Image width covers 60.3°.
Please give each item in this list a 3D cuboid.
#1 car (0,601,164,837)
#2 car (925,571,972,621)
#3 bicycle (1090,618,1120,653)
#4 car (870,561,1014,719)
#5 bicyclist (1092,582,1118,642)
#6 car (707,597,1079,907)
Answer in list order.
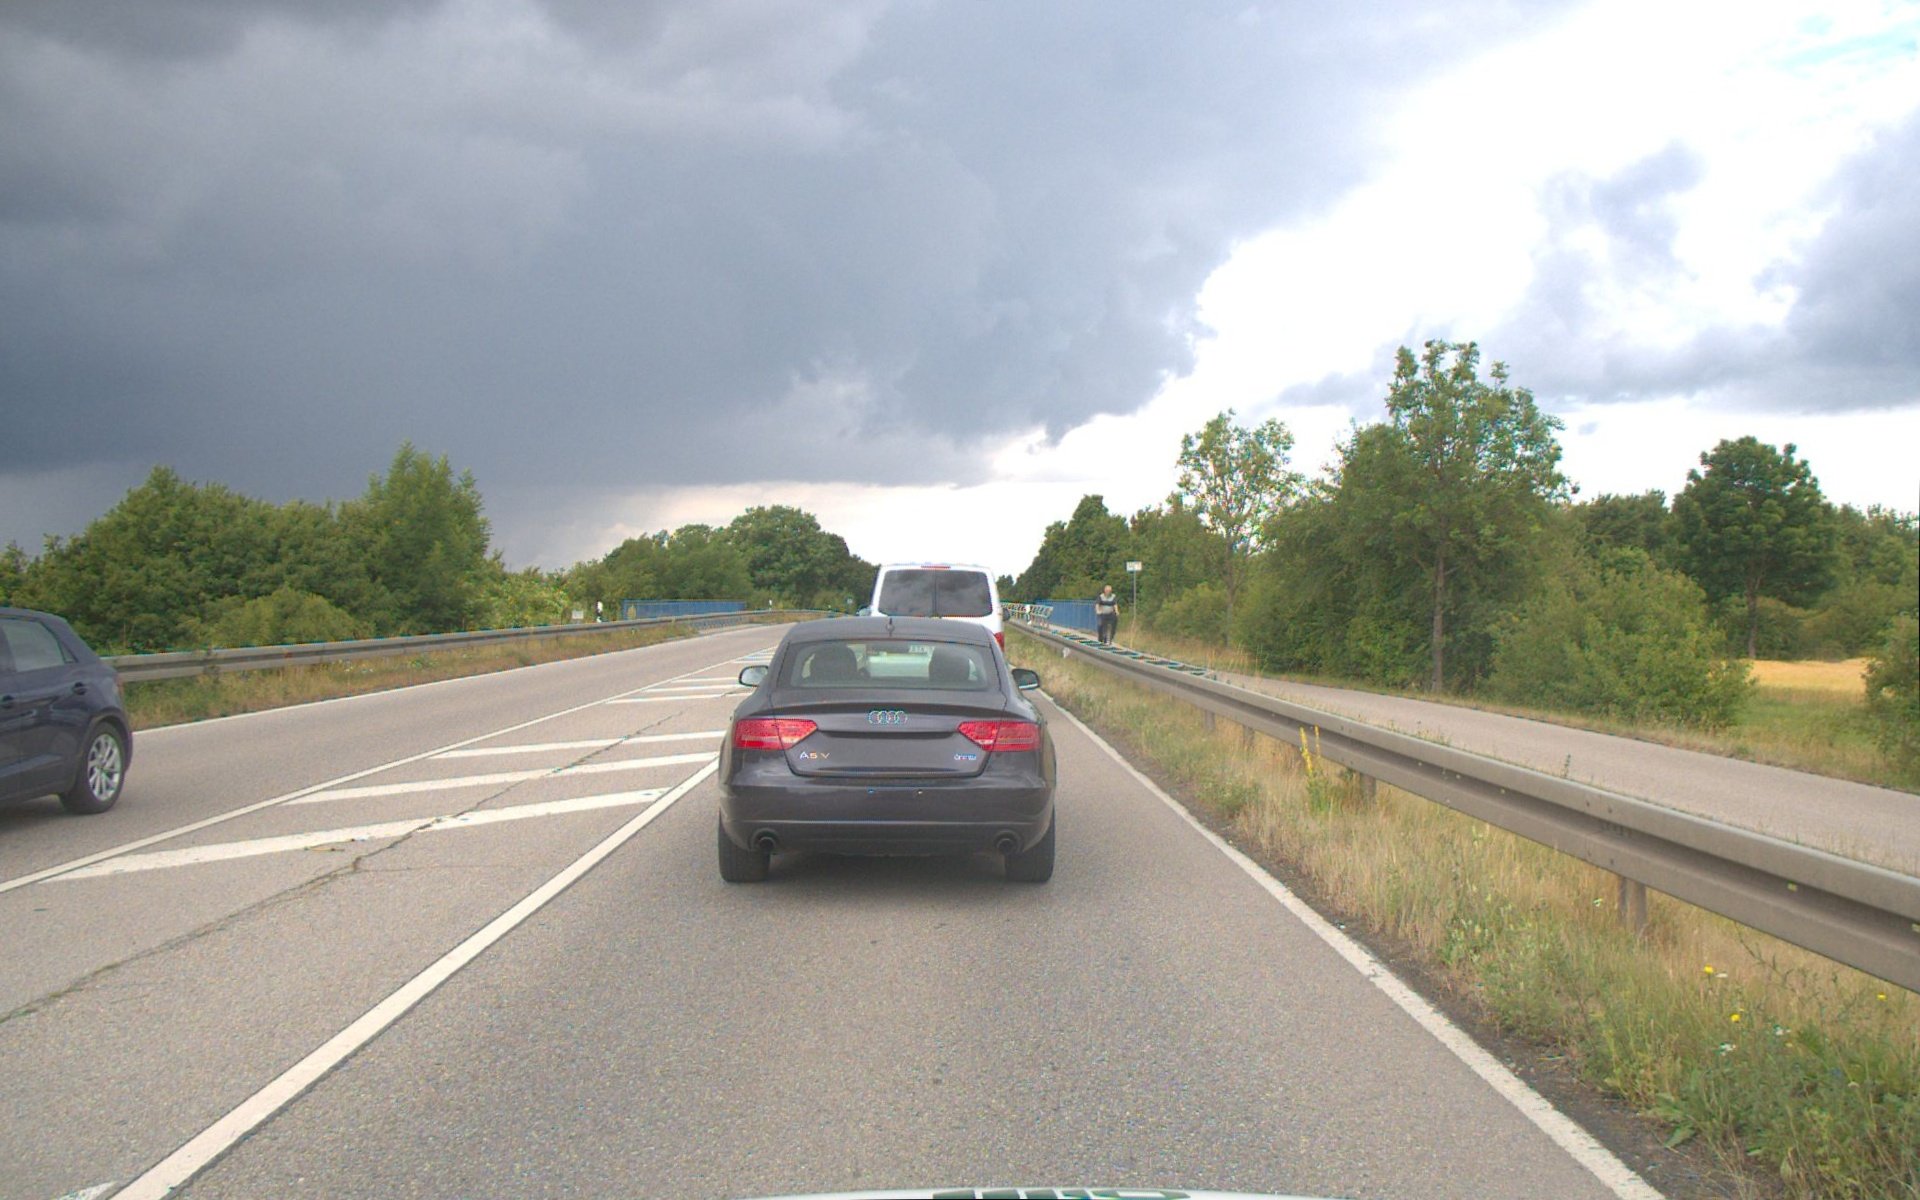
[{"bbox_3d":[-6.605,0.705,9.882,1.825,1.400,3.999,0,0,-1],"label":"car"},{"bbox_3d":[-0.604,-0.194,88.435,2.397,2.548,5.040,1,0,-1],"label":"car"},{"bbox_3d":[4.059,0.990,46.360,0.652,0.936,1.830,0,0,-1],"label":"bicycle"},{"bbox_3d":[-0.257,0.515,22.373,1.749,1.923,3.999,1,-1,-1],"label":"car"},{"bbox_3d":[4.052,0.342,46.344,0.634,1.674,0.866,0,-1,-1],"label":"bicyclist"},{"bbox_3d":[-0.350,0.748,9.873,1.749,1.449,3.999,1,-1,-1],"label":"car"}]
